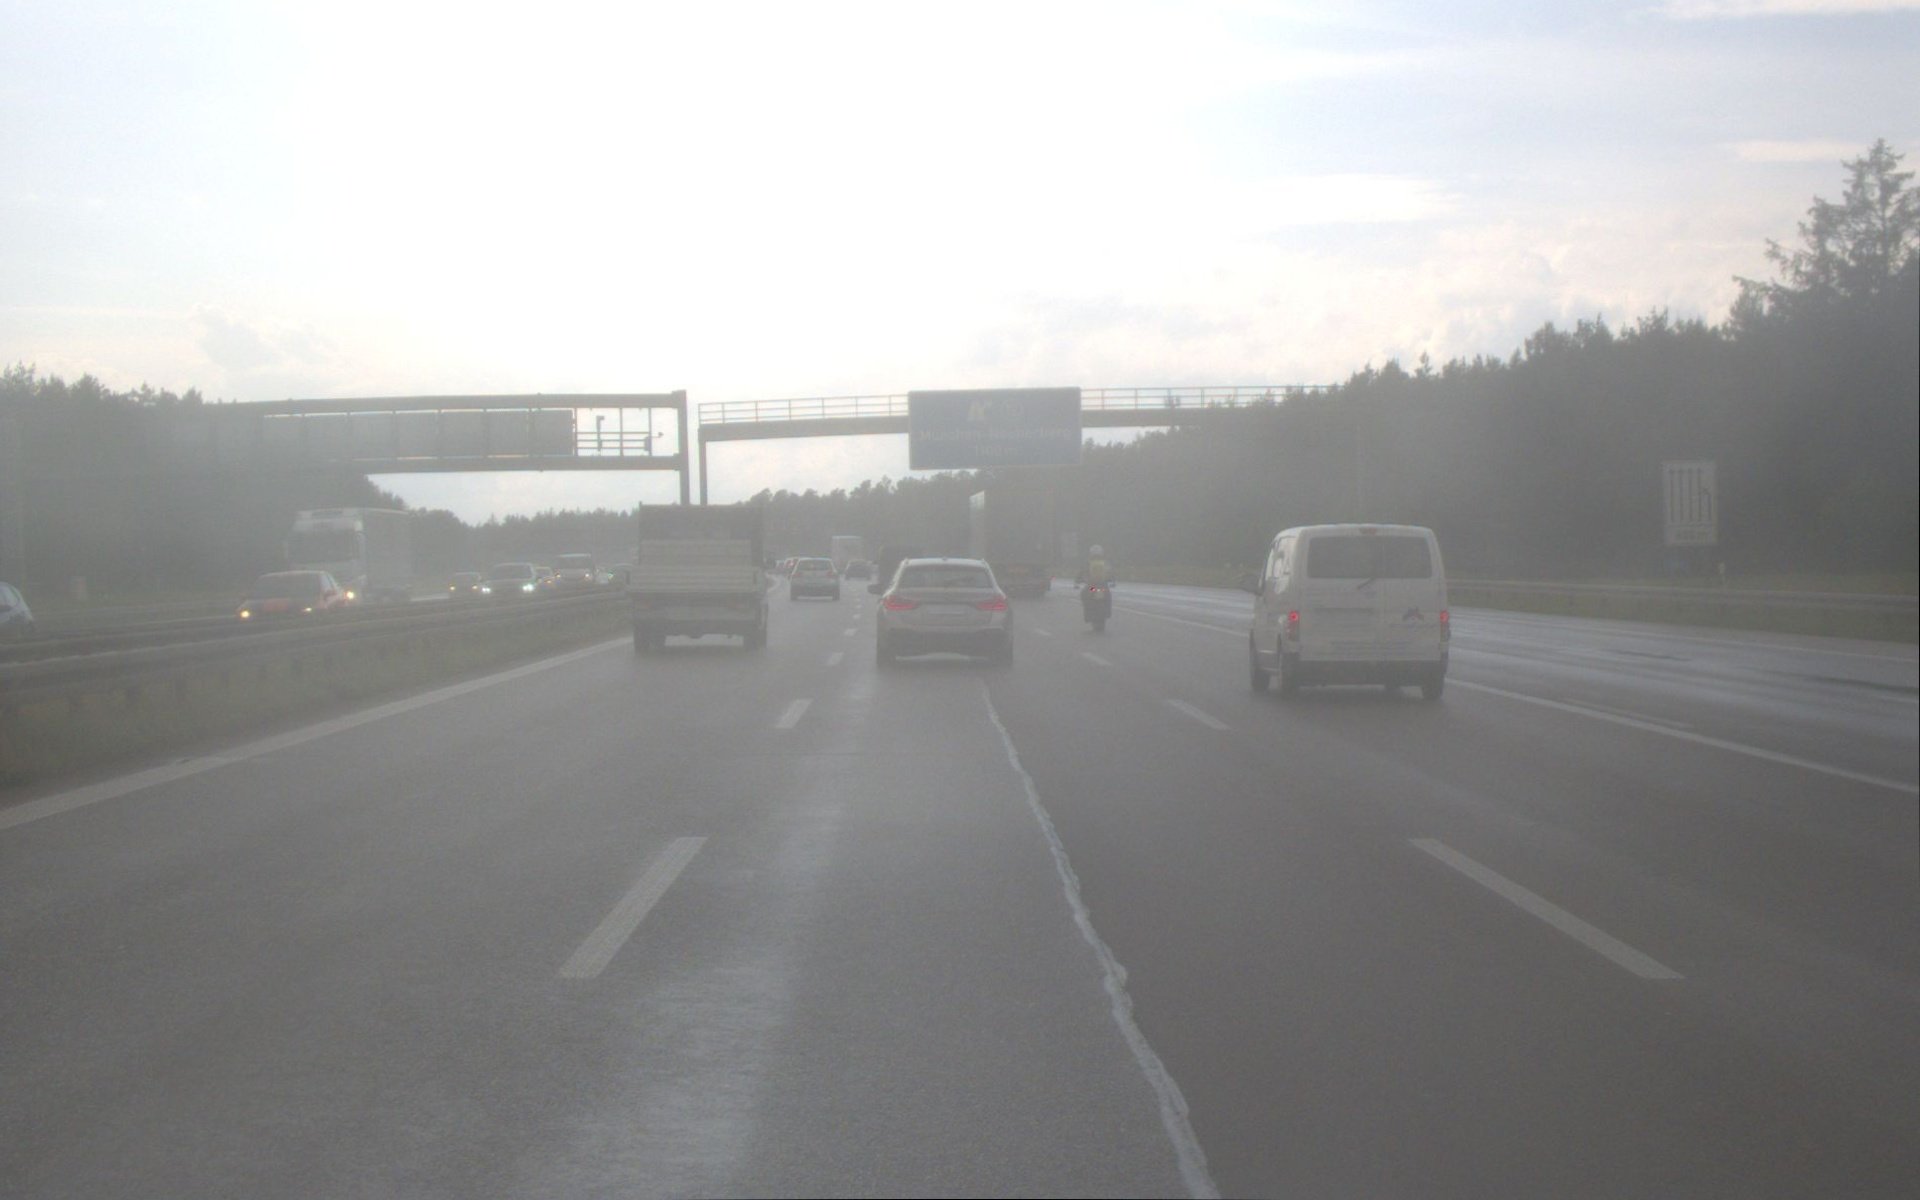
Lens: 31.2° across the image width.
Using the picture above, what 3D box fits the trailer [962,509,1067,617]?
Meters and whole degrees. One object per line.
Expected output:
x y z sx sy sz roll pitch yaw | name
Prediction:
2.023 -1.423 134.440 2.323 3.988 13.414 0 0 -7 | trailer

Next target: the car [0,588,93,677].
-17.077 0.566 61.682 1.916 1.451 4.652 -1 1 -1 | car

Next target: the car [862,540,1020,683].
-0.235 0.129 47.989 2.078 1.878 5.011 0 0 0 | car

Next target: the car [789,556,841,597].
-5.170 -0.840 122.510 1.831 1.461 4.000 0 1 -2 | car

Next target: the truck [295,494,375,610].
-23.266 -1.773 128.142 2.139 4.223 4.707 1 0 -1 | truck

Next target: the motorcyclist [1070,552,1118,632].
2.702 -0.161 69.498 0.891 1.609 0.959 0 0 -3 | motorcyclist

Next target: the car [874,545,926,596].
-2.453 -1.202 139.544 1.908 2.007 4.001 0 1 -4 | car

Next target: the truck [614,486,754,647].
-4.458 -0.554 55.764 2.137 2.480 5.313 0 1 -4 | truck

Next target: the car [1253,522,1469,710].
4.271 0.124 37.311 1.964 1.895 4.881 0 1 2 | car

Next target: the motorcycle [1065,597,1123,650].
2.701 0.459 69.703 1.000 1.028 2.174 0 1 -2 | motorcycle
